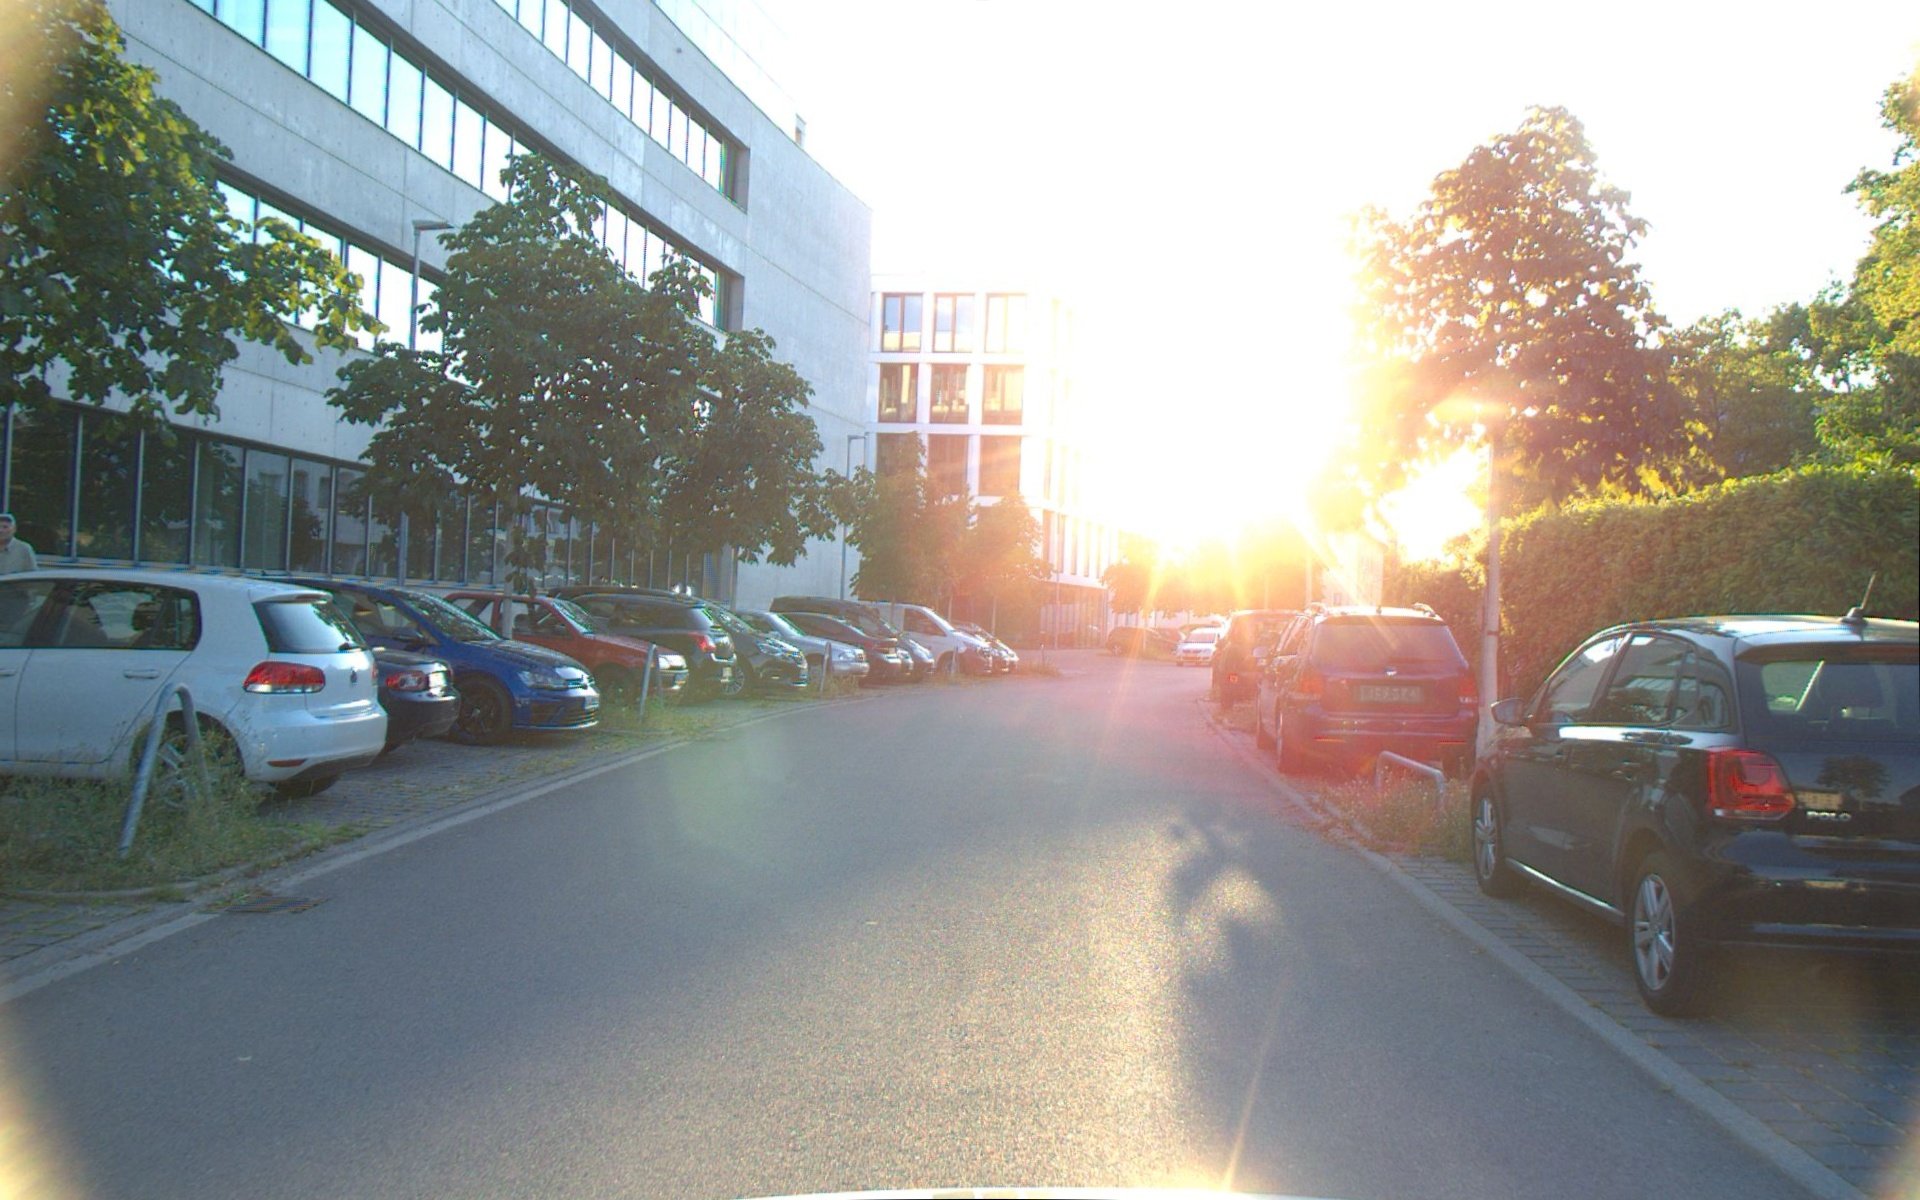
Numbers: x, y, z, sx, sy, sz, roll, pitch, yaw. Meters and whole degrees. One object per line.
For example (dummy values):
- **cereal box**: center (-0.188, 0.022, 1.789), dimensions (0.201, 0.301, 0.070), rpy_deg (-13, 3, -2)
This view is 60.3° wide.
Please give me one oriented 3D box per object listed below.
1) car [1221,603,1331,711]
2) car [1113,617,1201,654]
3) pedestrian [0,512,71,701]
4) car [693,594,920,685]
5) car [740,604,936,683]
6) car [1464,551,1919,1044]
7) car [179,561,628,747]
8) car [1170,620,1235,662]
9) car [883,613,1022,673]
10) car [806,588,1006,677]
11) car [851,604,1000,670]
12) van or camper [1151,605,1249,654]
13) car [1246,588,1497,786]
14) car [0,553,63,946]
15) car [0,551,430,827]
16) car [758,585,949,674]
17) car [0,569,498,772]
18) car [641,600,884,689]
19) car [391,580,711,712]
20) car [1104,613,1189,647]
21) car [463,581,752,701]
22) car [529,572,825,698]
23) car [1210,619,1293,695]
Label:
- **car**: center (4.868, 0.863, 25.804), dimensions (1.543, 1.536, 3.499), rpy_deg (1, -1, 9)
- **car**: center (9.568, 1.721, 80.299), dimensions (3.965, 1.504, 1.769), rpy_deg (3, 1, 16)
- **pedestrian**: center (-9.387, 0.059, 16.388), dimensions (0.632, 1.815, 0.725), rpy_deg (3, -1, 4)
- **car**: center (-3.181, 0.820, 34.642), dimensions (4.305, 1.525, 1.764), rpy_deg (4, -1, 14)
- **car**: center (-2.734, 0.977, 37.455), dimensions (4.056, 1.428, 1.726), rpy_deg (4, -1, 10)
- **car**: center (3.486, 0.658, 7.155), dimensions (1.704, 1.579, 3.641), rpy_deg (1, 0, 4)
- **car**: center (-5.456, 0.503, 16.516), dimensions (3.789, 1.538, 1.761), rpy_deg (3, 0, 4)
- **car**: center (10.817, 1.843, 73.422), dimensions (1.912, 1.716, 4.722), rpy_deg (0, -3, 20)
- **car**: center (-0.205, 1.280, 49.676), dimensions (3.804, 1.514, 1.652), rpy_deg (4, -1, 12)
- **car**: center (-1.420, 0.874, 44.393), dimensions (4.969, 1.980, 1.890), rpy_deg (4, -1, 11)
- **car**: center (-0.973, 1.064, 47.064), dimensions (3.903, 1.549, 1.607), rpy_deg (4, -1, 10)
- **van or camper**: center (14.058, 1.690, 96.785), dimensions (5.339, 2.527, 1.776), rpy_deg (3, 0, 19)
- **car**: center (3.766, 0.718, 15.838), dimensions (1.674, 1.577, 4.551), rpy_deg (1, 0, 6)
- **car**: center (-5.676, 0.483, 5.959), dimensions (3.918, 1.538, 1.584), rpy_deg (4, 1, -3)
- **car**: center (-5.764, 0.485, 10.863), dimensions (3.905, 1.538, 1.760), rpy_deg (3, 0, 1)
- **car**: center (-2.525, 0.698, 39.575), dimensions (4.157, 1.772, 1.726), rpy_deg (4, -1, 10)
- **car**: center (-5.885, 0.548, 13.734), dimensions (3.559, 1.385, 1.686), rpy_deg (3, 0, -1)
- **car**: center (-3.809, 0.840, 32.215), dimensions (4.339, 1.489, 1.764), rpy_deg (2, 0, 10)
- **car**: center (-5.281, 0.589, 21.638), dimensions (3.624, 1.483, 1.712), rpy_deg (3, -1, 5)
- **car**: center (9.595, 1.542, 85.113), dimensions (3.966, 1.505, 1.768), rpy_deg (3, -1, 19)
- **car**: center (-4.986, 0.575, 23.663), dimensions (3.624, 1.483, 1.680), rpy_deg (3, -1, 6)
- **car**: center (-4.443, 0.553, 26.390), dimensions (4.218, 1.726, 1.897), rpy_deg (3, -1, 6)
- **car**: center (6.398, 1.225, 36.096), dimensions (1.656, 1.536, 4.196), rpy_deg (1, -1, 11)
